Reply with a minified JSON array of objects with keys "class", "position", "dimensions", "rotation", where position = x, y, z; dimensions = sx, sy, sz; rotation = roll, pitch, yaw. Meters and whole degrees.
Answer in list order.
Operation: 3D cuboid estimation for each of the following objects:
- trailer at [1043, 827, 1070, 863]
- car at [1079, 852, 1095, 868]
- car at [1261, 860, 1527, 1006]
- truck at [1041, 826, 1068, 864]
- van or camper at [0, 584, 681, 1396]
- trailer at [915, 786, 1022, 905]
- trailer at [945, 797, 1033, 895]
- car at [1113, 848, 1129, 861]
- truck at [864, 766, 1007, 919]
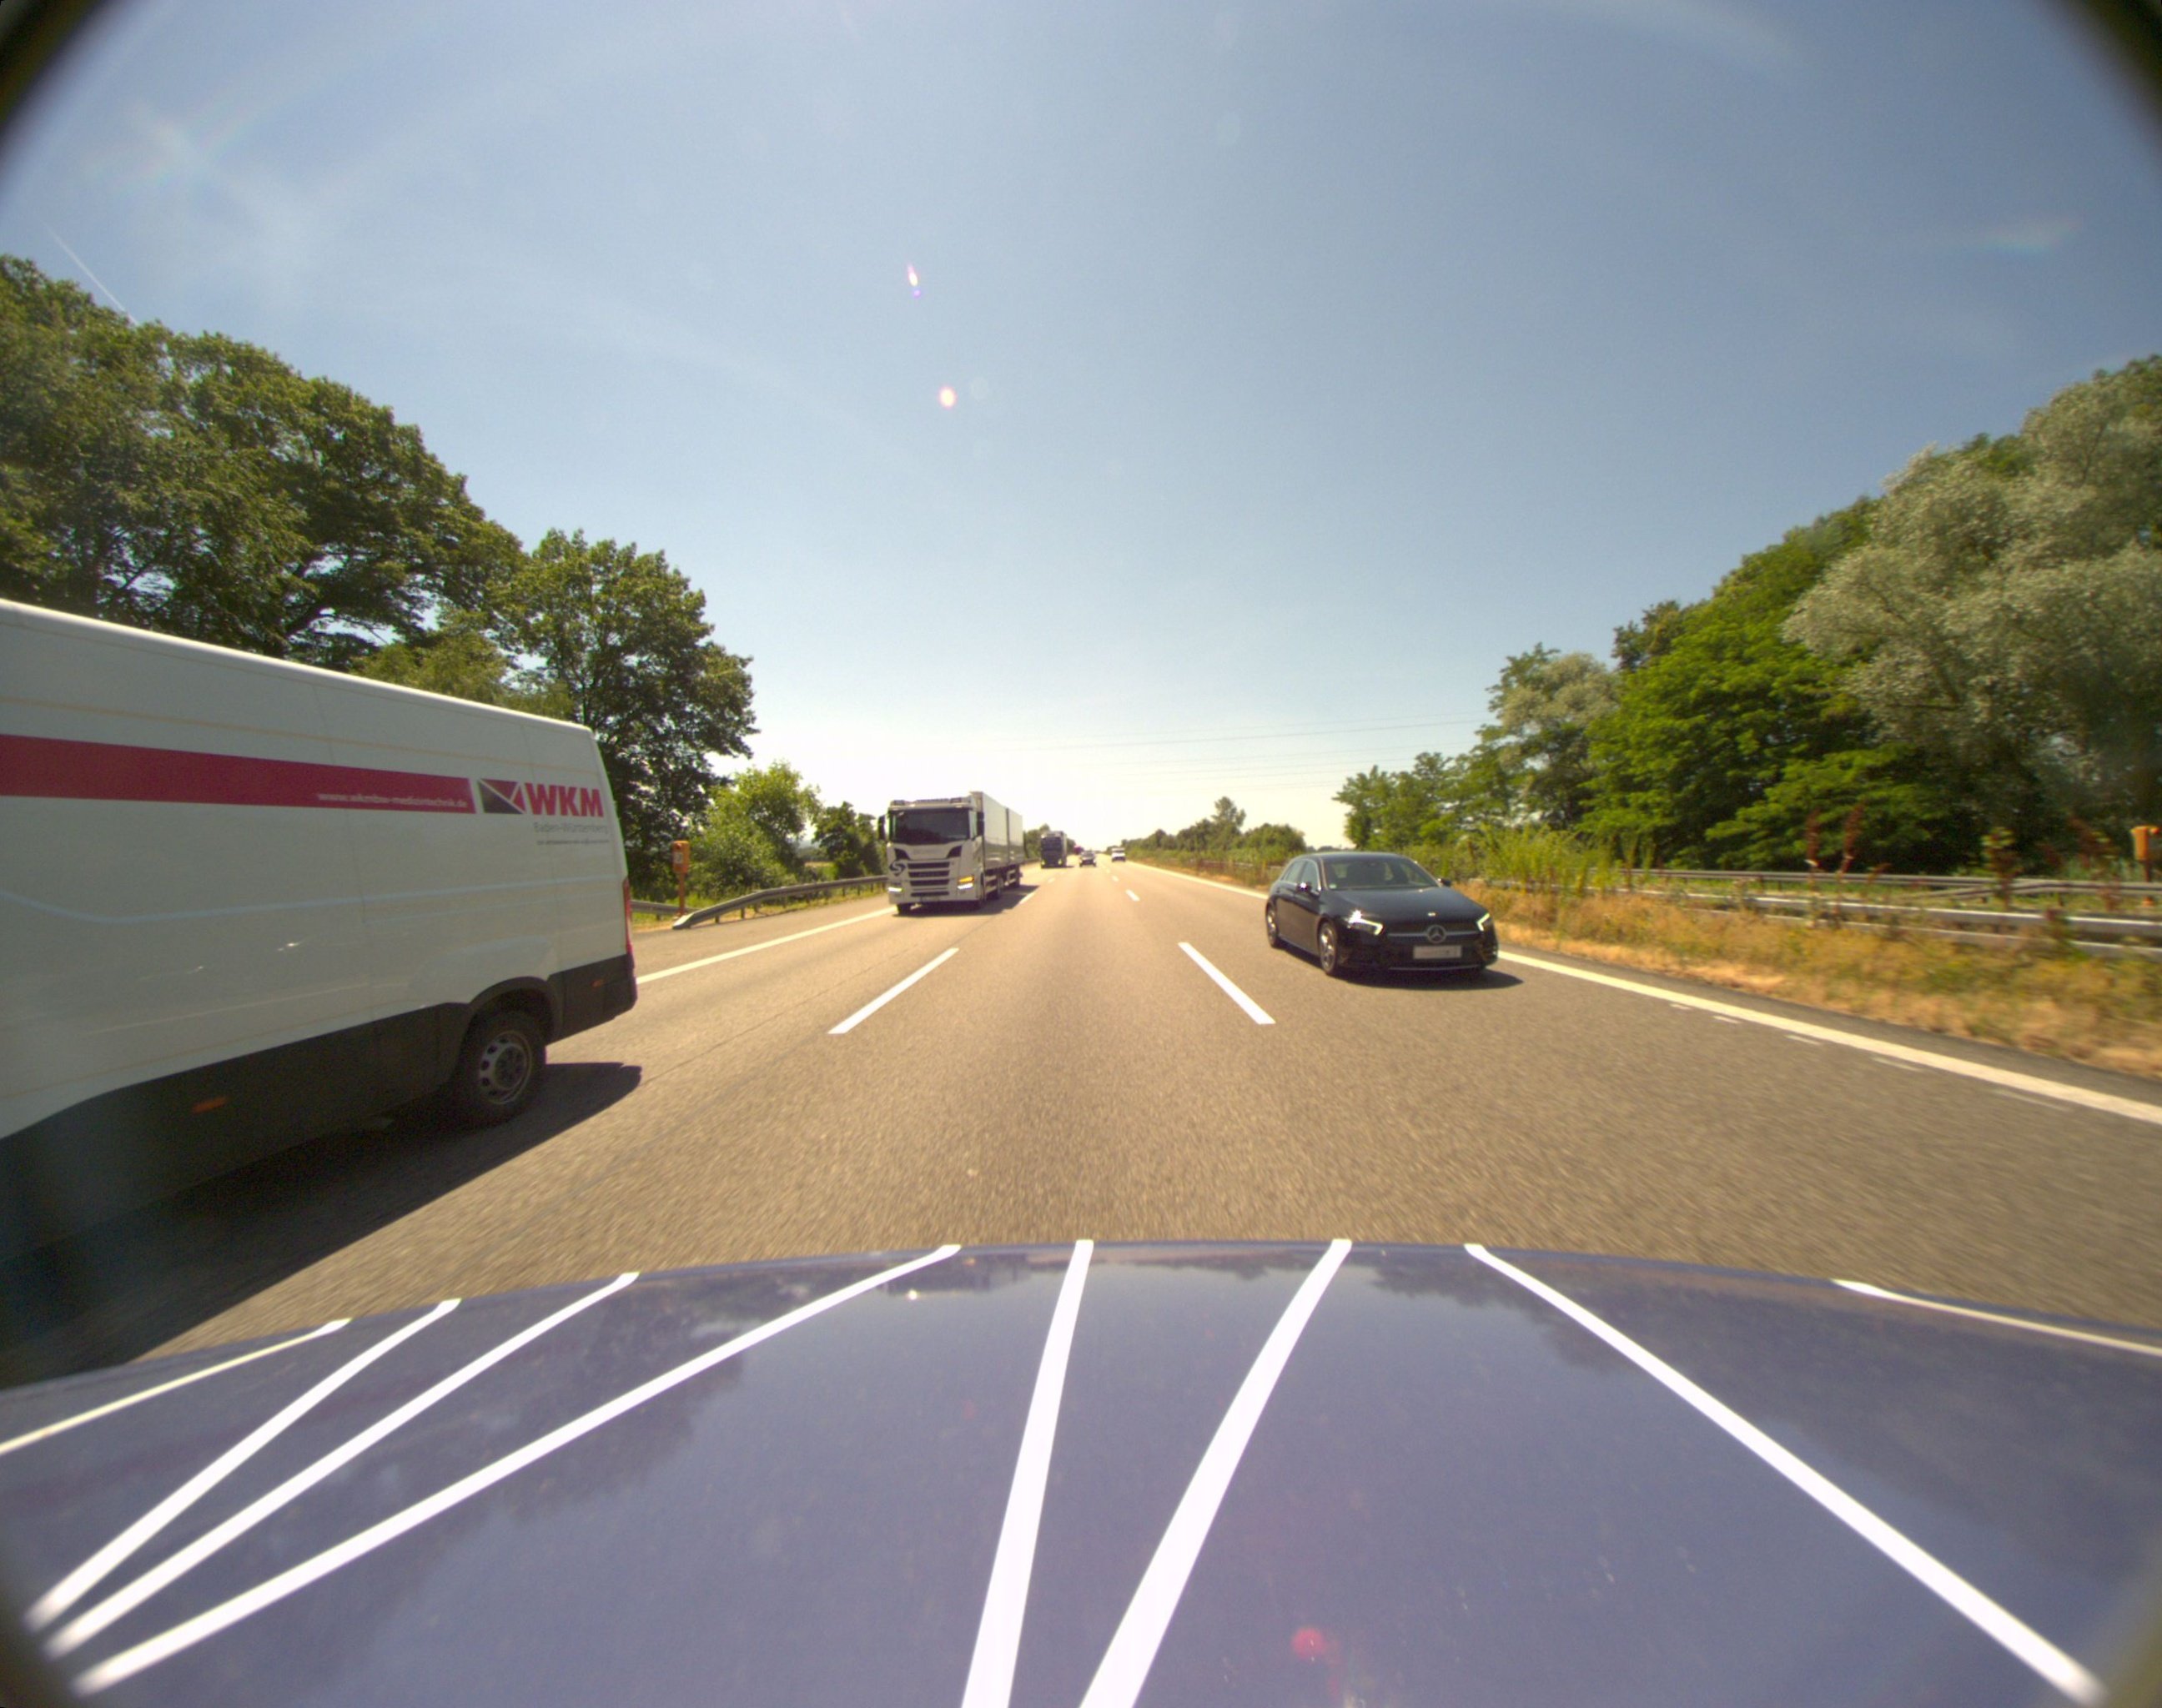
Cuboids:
[{"class":"trailer","position":[-2.842,-1.092,91.559],"dimensions":[2.559,3.931,13.537],"rotation":[-2,0,1]},{"class":"car","position":[0.664,0.641,83.351],"dimensions":[1.796,1.696,4.000],"rotation":[0,1,1]},{"class":"car","position":[3.690,0.827,9.815],"dimensions":[1.796,1.403,4.052],"rotation":[-1,0,1]},{"class":"truck","position":[-2.923,-0.990,84.357],"dimensions":[2.559,3.932,6.513],"rotation":[-2,1,1]},{"class":"van or camper","position":[-4.512,0.456,3.247],"dimensions":[2.027,2.622,6.486],"rotation":[-2,0,0]},{"class":"trailer","position":[-4.164,-0.335,29.981],"dimensions":[2.927,4.018,7.316],"rotation":[-2,1,0]},{"class":"trailer","position":[-4.137,-0.373,36.005],"dimensions":[2.952,4.039,8.127],"rotation":[-2,1,0]},{"class":"car","position":[5.973,0.031,113.308],"dimensions":[2.147,1.810,5.267],"rotation":[-2,0,1]},{"class":"truck","position":[-4.265,-0.339,23.908],"dimensions":[2.896,4.007,6.869],"rotation":[-2,1,1]}]
